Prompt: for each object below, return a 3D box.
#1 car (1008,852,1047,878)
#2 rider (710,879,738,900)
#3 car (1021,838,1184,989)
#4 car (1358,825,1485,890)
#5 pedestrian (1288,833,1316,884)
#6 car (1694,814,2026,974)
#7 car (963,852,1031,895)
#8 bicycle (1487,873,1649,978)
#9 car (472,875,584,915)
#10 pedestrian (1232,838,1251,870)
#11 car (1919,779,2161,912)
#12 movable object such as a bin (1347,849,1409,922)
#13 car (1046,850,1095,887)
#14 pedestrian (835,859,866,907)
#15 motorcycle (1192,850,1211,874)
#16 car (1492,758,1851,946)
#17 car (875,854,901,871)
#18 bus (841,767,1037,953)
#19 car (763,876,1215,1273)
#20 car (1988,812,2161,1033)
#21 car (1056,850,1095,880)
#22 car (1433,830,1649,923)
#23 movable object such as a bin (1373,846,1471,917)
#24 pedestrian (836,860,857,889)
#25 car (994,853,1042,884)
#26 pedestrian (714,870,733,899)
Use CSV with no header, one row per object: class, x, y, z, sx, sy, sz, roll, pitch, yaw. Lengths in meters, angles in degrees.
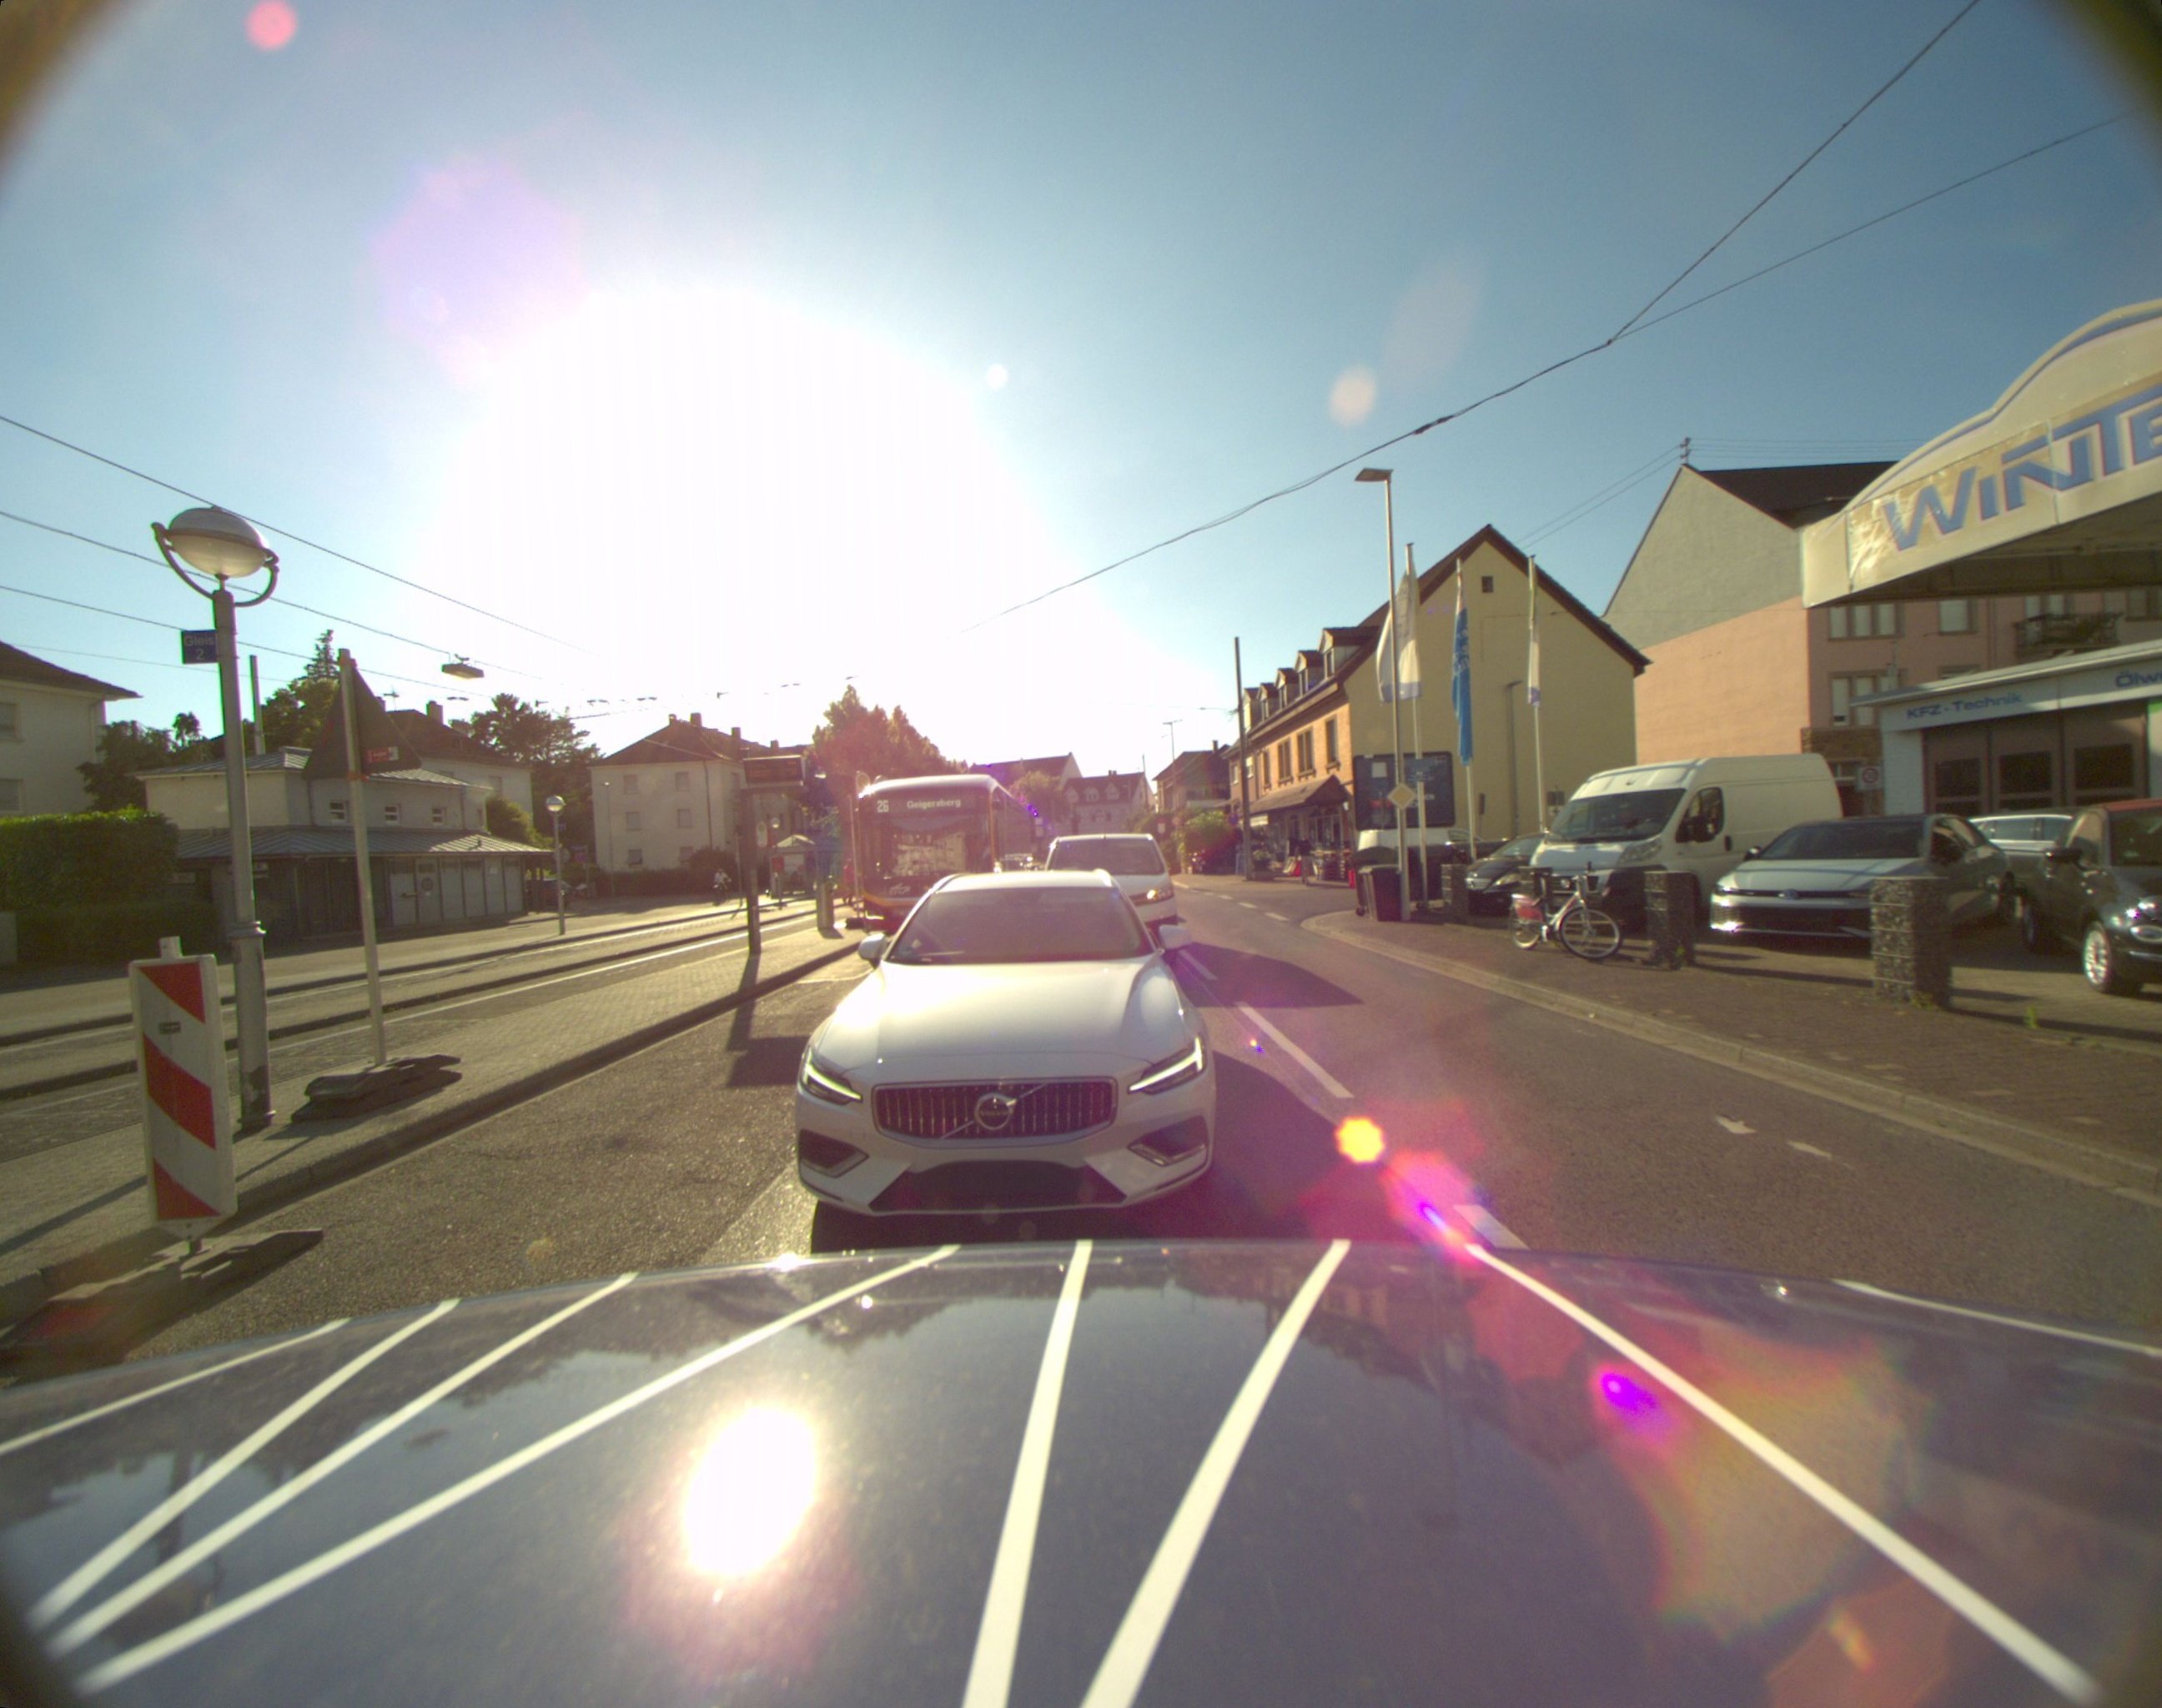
car,-3.272,0.632,47.307,1.969,1.450,4.824,-2,0,1
rider,-17.816,1.774,37.907,1.852,0.986,0.581,-1,1,44
car,0.302,0.733,12.013,1.969,1.816,5.033,-2,0,1
car,11.564,0.098,25.926,3.672,2.002,1.451,-2,1,-3
pedestrian,8.298,0.168,28.535,0.822,1.842,0.767,-2,1,3
car,9.490,0.359,9.215,4.036,1.488,1.739,-3,1,-28
car,-3.152,0.705,29.504,1.969,1.450,4.824,-2,0,1
bicycle,5.881,0.814,9.317,0.725,1.080,1.791,-3,1,-3
car,-27.688,2.047,38.142,4.052,1.663,2.000,-4,1,2
pedestrian,8.808,0.009,41.778,0.809,1.703,0.859,-2,1,2
car,16.480,-0.173,11.991,1.742,1.933,4.257,-3,1,-1
movable object such as a bin,6.235,0.641,15.954,1.045,1.456,0.797,-2,1,32
car,-0.392,0.583,33.264,1.969,1.450,4.824,-2,0,1
pedestrian,-8.491,1.045,27.975,0.842,1.708,0.825,-2,1,-3
motorcycle,6.353,0.418,40.123,0.708,1.210,2.186,-2,1,3
car,9.143,-0.134,11.764,4.997,2.440,2.111,-3,1,-22
car,-23.261,1.019,91.776,1.998,1.853,3.999,-2,1,1
bus,-2.920,0.095,19.837,2.748,3.284,12.030,-2,0,0
car,-0.353,0.981,5.260,1.821,1.446,4.217,-2,0,1
car,9.076,0.412,6.168,1.590,1.488,3.442,-2,1,40
car,-0.253,0.567,41.512,1.969,1.450,4.824,-2,0,1
car,8.967,0.374,14.750,4.036,1.469,1.739,-3,1,-28
movable object such as a bin,7.593,0.579,16.917,1.798,1.456,1.046,-3,1,-25
pedestrian,-13.065,1.131,42.336,0.842,1.601,0.825,-2,1,-1
car,-3.229,0.706,39.893,1.969,1.450,4.824,-2,0,1
pedestrian,-17.819,1.512,37.892,0.657,1.373,0.581,-1,2,44
